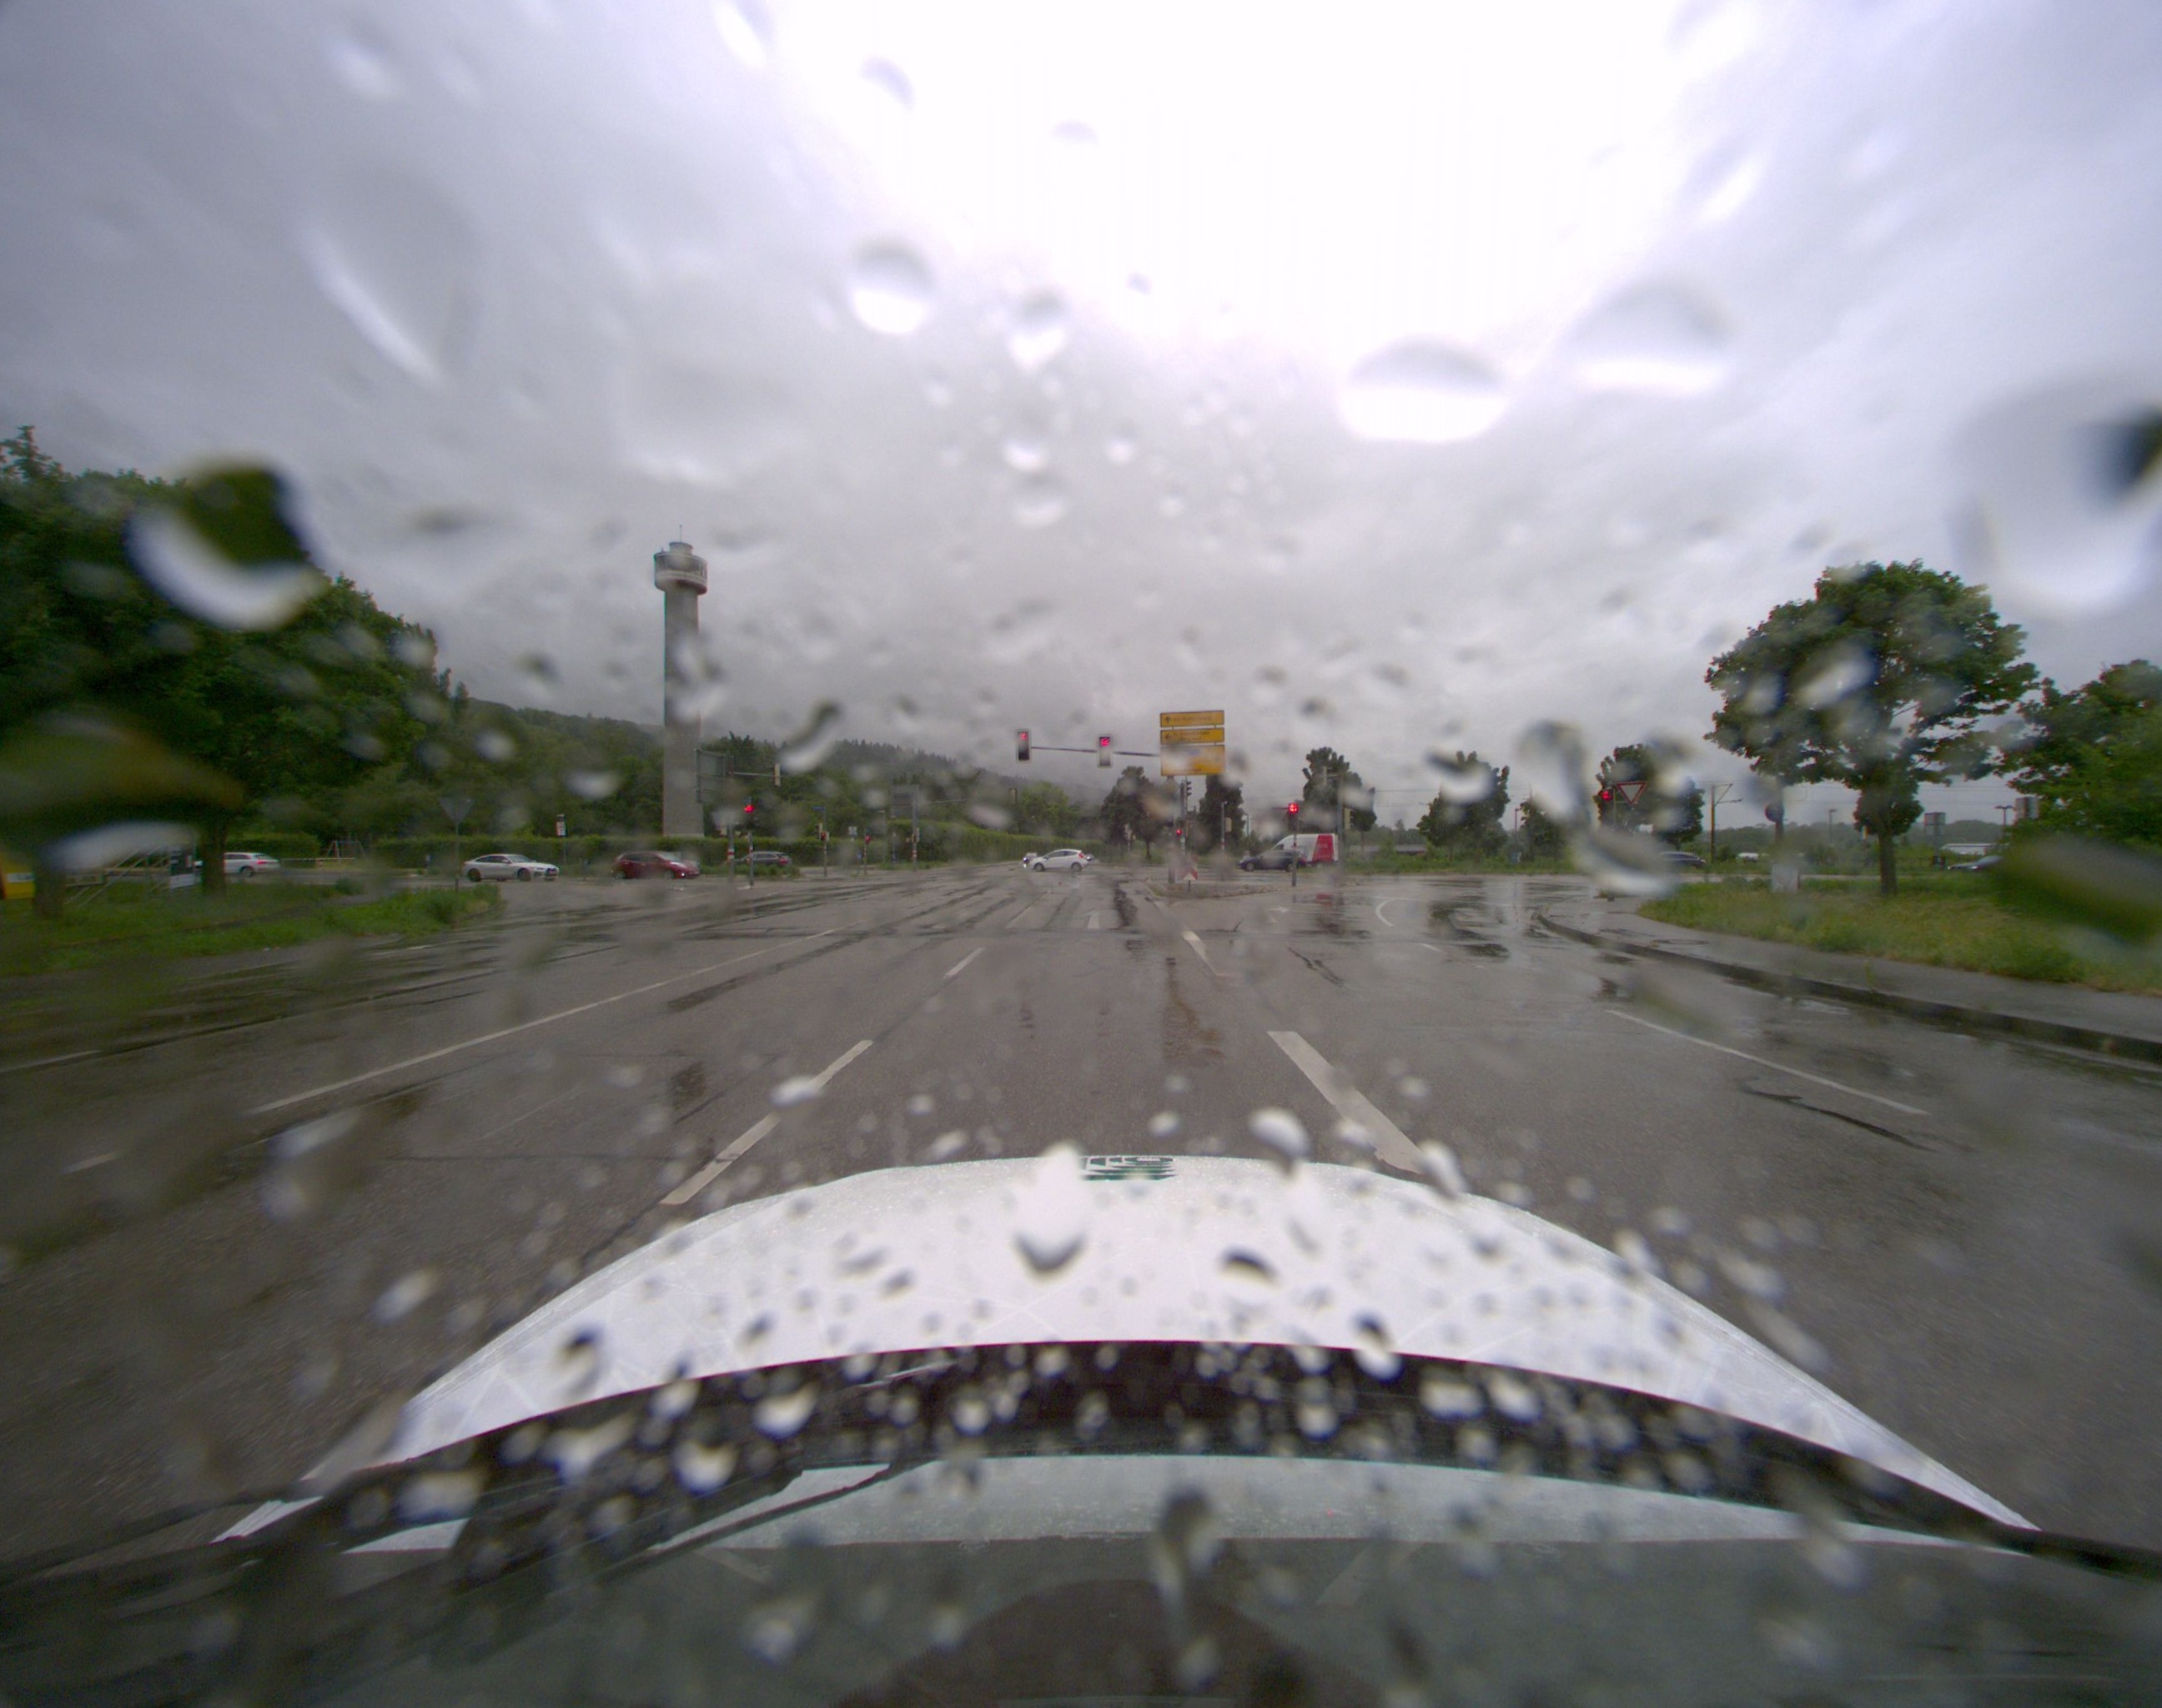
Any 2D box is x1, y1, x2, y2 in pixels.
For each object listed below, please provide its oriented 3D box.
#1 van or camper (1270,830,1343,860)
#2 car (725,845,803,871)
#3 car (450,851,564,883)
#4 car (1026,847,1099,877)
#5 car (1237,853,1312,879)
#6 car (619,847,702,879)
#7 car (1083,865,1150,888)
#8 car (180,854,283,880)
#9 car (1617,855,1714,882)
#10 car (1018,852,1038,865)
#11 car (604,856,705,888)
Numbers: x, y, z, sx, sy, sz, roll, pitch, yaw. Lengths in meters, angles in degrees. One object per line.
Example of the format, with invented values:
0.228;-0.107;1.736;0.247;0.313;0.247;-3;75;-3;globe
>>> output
16.536;-0.664;59.713;4.804;2.169;2.173;0;1;25;van or camper
-21.704;0.258;55.899;4.670;1.639;1.816;-1;0;-10;car
-30.045;0.676;42.702;4.855;1.553;1.803;-1;0;7;car
-1.201;0.538;54.569;4.646;1.915;1.918;-1;0;6;car
12.632;0.768;53.408;4.645;1.553;1.826;-1;0;6;car
-23.385;0.498;45.379;3.779;1.711;1.750;0;0;9;car
2.538;1.589;57.940;4.648;1.553;1.825;-1;0;4;car
-55.252;0.829;53.027;4.378;1.579;1.725;0;1;-12;car
36.017;0.856;50.268;4.648;1.553;1.825;-1;0;4;car
-7.022;0.570;107.781;1.870;1.573;4.652;-2;0;5;car
-21.803;0.920;41.736;4.350;1.579;1.737;0;1;8;car
